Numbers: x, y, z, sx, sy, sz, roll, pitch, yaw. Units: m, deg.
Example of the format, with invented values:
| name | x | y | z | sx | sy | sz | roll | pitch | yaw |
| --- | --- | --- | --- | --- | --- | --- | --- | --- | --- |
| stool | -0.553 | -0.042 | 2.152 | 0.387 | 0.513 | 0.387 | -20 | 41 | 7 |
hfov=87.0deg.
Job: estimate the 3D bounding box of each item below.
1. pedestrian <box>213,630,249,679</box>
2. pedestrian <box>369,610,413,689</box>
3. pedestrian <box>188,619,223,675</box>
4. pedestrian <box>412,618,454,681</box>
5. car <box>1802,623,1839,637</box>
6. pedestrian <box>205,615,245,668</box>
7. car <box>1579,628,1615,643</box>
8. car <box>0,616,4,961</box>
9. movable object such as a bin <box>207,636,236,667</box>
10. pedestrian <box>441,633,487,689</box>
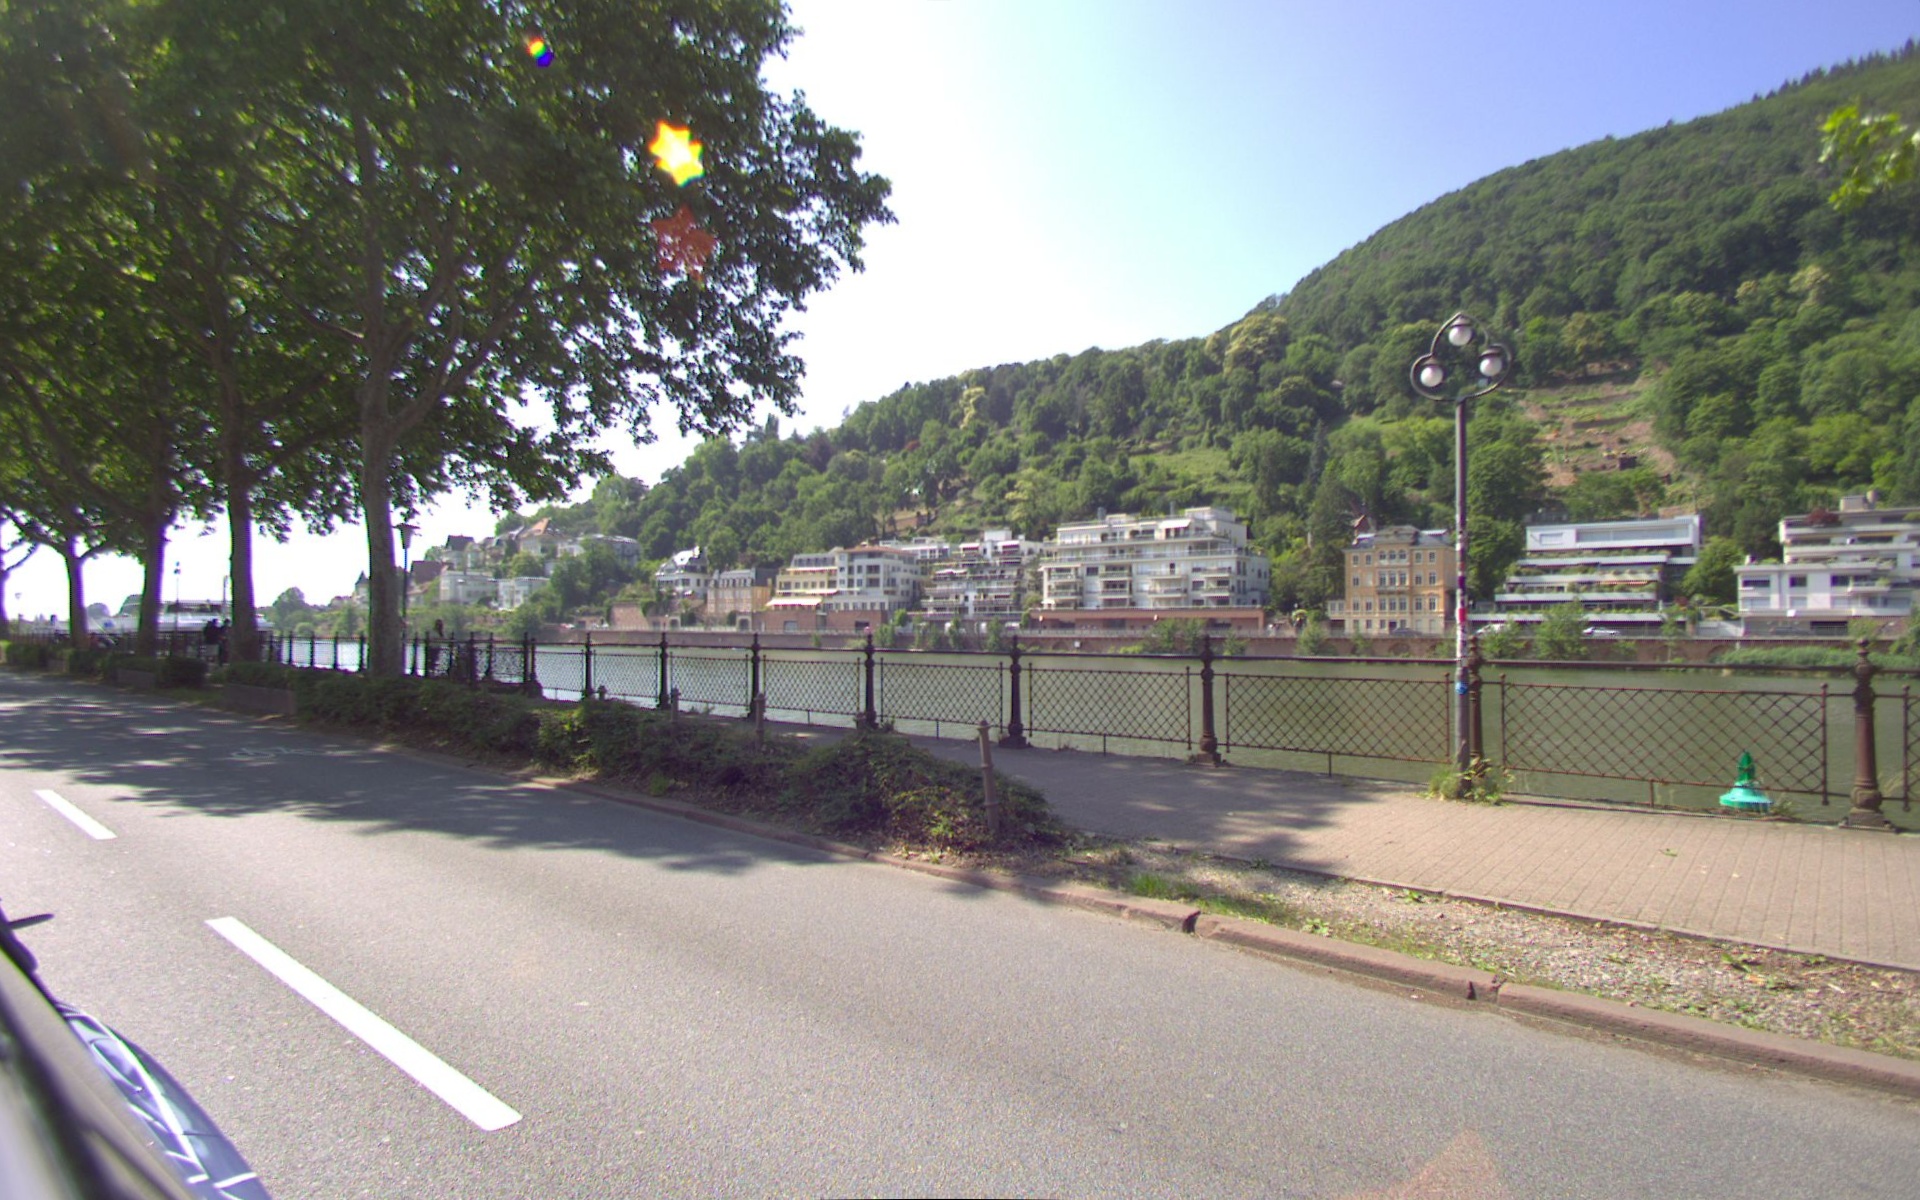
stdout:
| name | x | y | z | sx | sy | sz | roll | pitch | yaw |
| --- | --- | --- | --- | --- | --- | --- | --- | --- | --- |
| pedestrian | -25.367 | 1.870 | 35.208 | 0.885 | 1.647 | 1.060 | 0 | 0 | -44 |
| pedestrian | -14.175 | 1.228 | 25.217 | 0.756 | 1.915 | 0.771 | 3 | -4 | -42 |
| pedestrian | -25.794 | 1.587 | 34.595 | 0.928 | 1.863 | 0.796 | -1 | 0 | 41 |
| pedestrian | -15.090 | 1.422 | 28.980 | 0.829 | 1.771 | 0.767 | -2 | -4 | 40 |
| car | 125.551 | 4.374 | 147.704 | 3.998 | 2.029 | 1.973 | -3 | -1 | 41 |
| pedestrian | -29.435 | 1.646 | 40.561 | 1.032 | 2.029 | 1.038 | -1 | 0 | -19 |
| car | 89.215 | 4.979 | 141.742 | 3.998 | 2.029 | 1.973 | -1 | 0 | 41 |
| car | -6.126 | 0.823 | 4.884 | 4.268 | 1.413 | 1.810 | -2 | -1 | 41 |
| movable object such as a bin | -26.087 | 1.814 | 35.760 | 0.783 | 1.057 | 0.694 | -1 | 0 | 44 |
| pedestrian | -12.635 | 1.539 | 25.789 | 0.770 | 1.398 | 0.758 | -2 | -3 | 40 |
